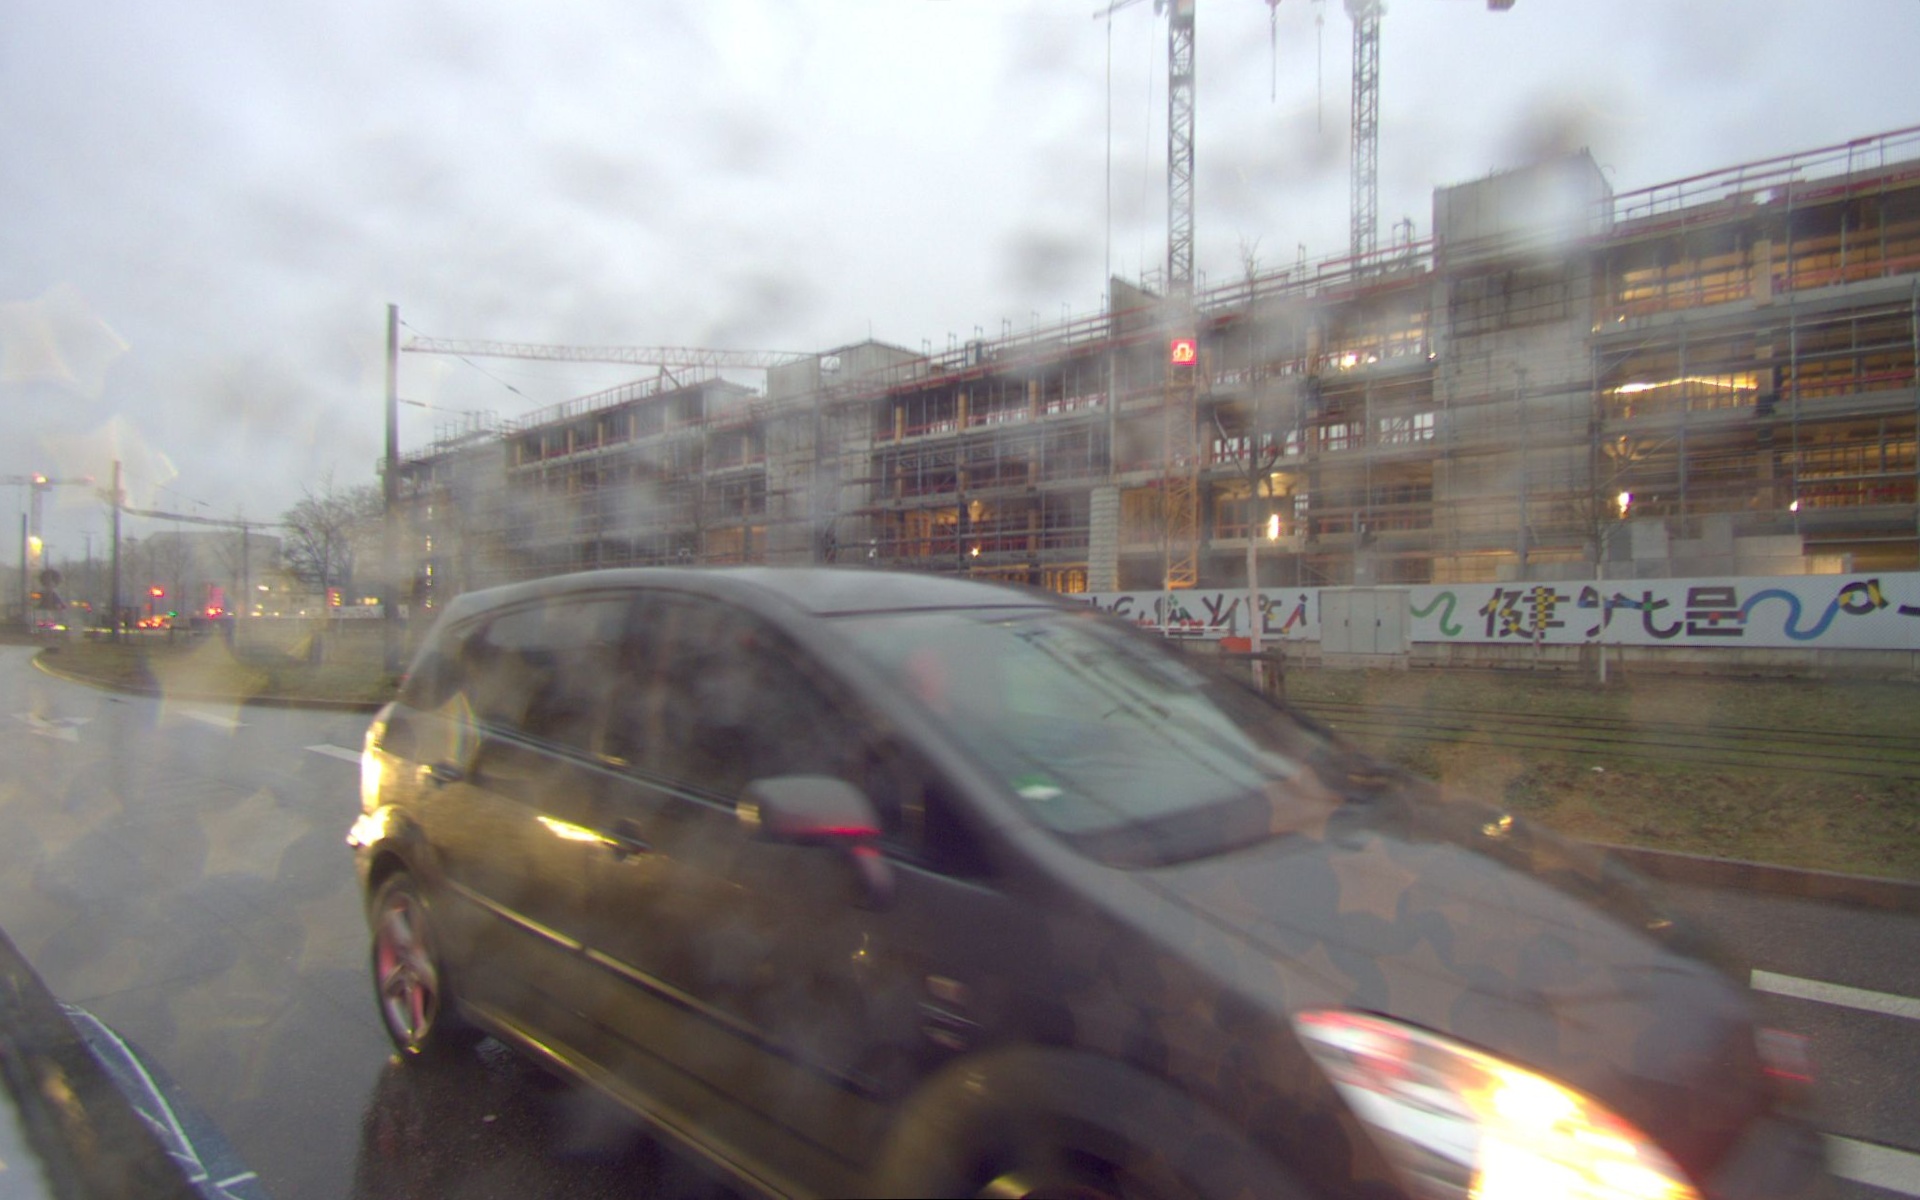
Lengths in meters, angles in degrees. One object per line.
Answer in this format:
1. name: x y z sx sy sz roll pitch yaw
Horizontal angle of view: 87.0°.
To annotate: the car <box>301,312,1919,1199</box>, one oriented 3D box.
1. car: -0.109 0.608 2.861 4.131 1.659 1.793 -1 -1 39
